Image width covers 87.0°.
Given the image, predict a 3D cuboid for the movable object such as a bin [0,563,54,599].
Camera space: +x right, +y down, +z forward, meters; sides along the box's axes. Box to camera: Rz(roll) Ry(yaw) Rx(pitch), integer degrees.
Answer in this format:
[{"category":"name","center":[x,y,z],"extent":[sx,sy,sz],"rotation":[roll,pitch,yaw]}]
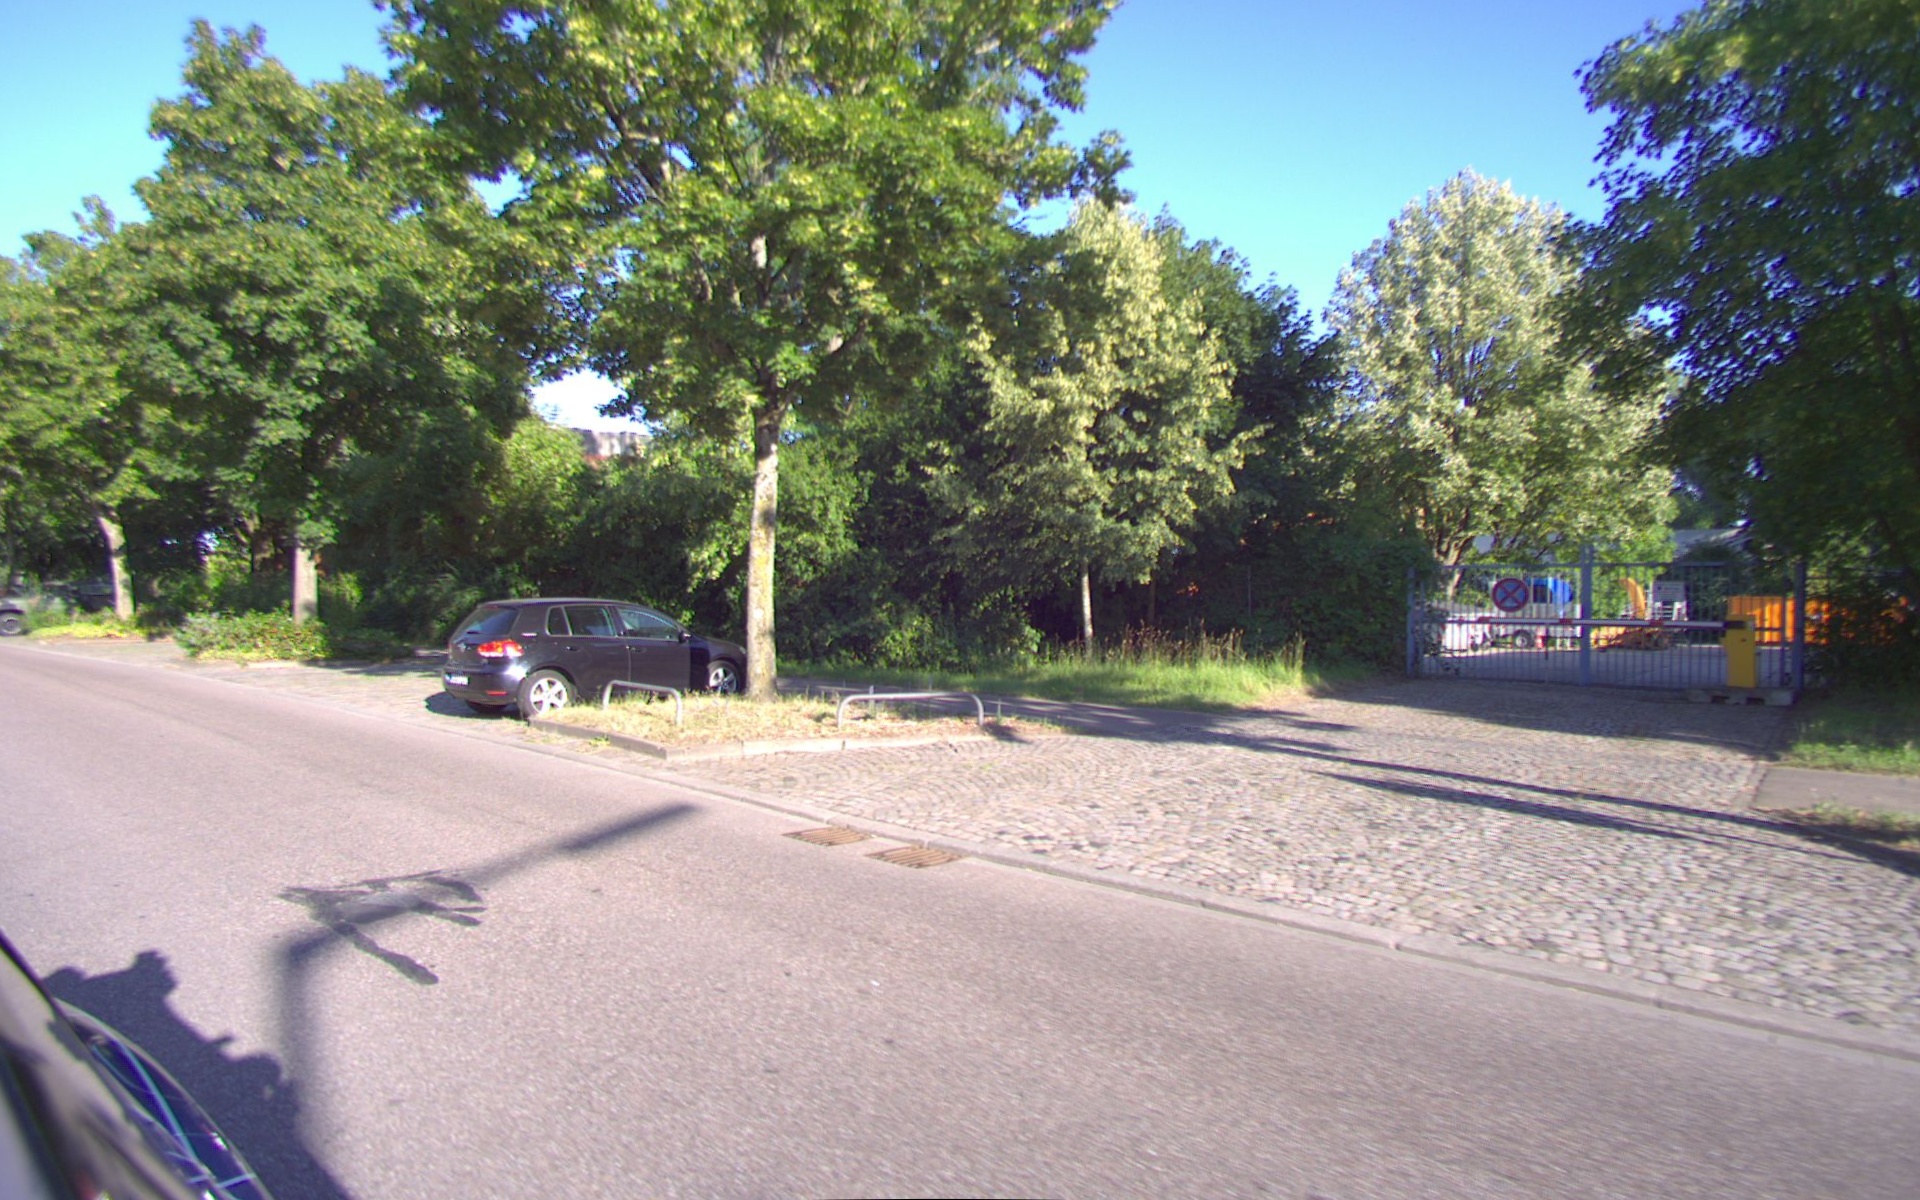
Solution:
[{"category":"movable object such as a bin","center":[-73.735,-1.478,78.493],"extent":[4.728,2.684,2.168],"rotation":[2,-1,-7]}]

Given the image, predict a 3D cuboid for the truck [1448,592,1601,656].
[{"category":"truck","center":[19.599,0.784,35.224],"extent":[4.316,2.073,2.031],"rotation":[0,-1,41]}]

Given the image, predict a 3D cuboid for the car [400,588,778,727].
[{"category":"car","center":[-4.714,0.606,13.412],"extent":[1.998,1.490,4.316],"rotation":[1,1,39]}]

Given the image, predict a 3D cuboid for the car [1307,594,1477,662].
[{"category":"car","center":[11.925,0.731,28.018],"extent":[3.995,1.741,1.890],"rotation":[1,-1,38]}]

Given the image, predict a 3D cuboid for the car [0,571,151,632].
[{"category":"car","center":[-33.063,0.008,37.025],"extent":[2.169,2.035,4.963],"rotation":[1,2,35]}]

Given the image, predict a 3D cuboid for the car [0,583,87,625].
[{"category":"car","center":[-36.608,0.161,39.006],"extent":[1.701,1.541,4.176],"rotation":[1,2,34]}]
